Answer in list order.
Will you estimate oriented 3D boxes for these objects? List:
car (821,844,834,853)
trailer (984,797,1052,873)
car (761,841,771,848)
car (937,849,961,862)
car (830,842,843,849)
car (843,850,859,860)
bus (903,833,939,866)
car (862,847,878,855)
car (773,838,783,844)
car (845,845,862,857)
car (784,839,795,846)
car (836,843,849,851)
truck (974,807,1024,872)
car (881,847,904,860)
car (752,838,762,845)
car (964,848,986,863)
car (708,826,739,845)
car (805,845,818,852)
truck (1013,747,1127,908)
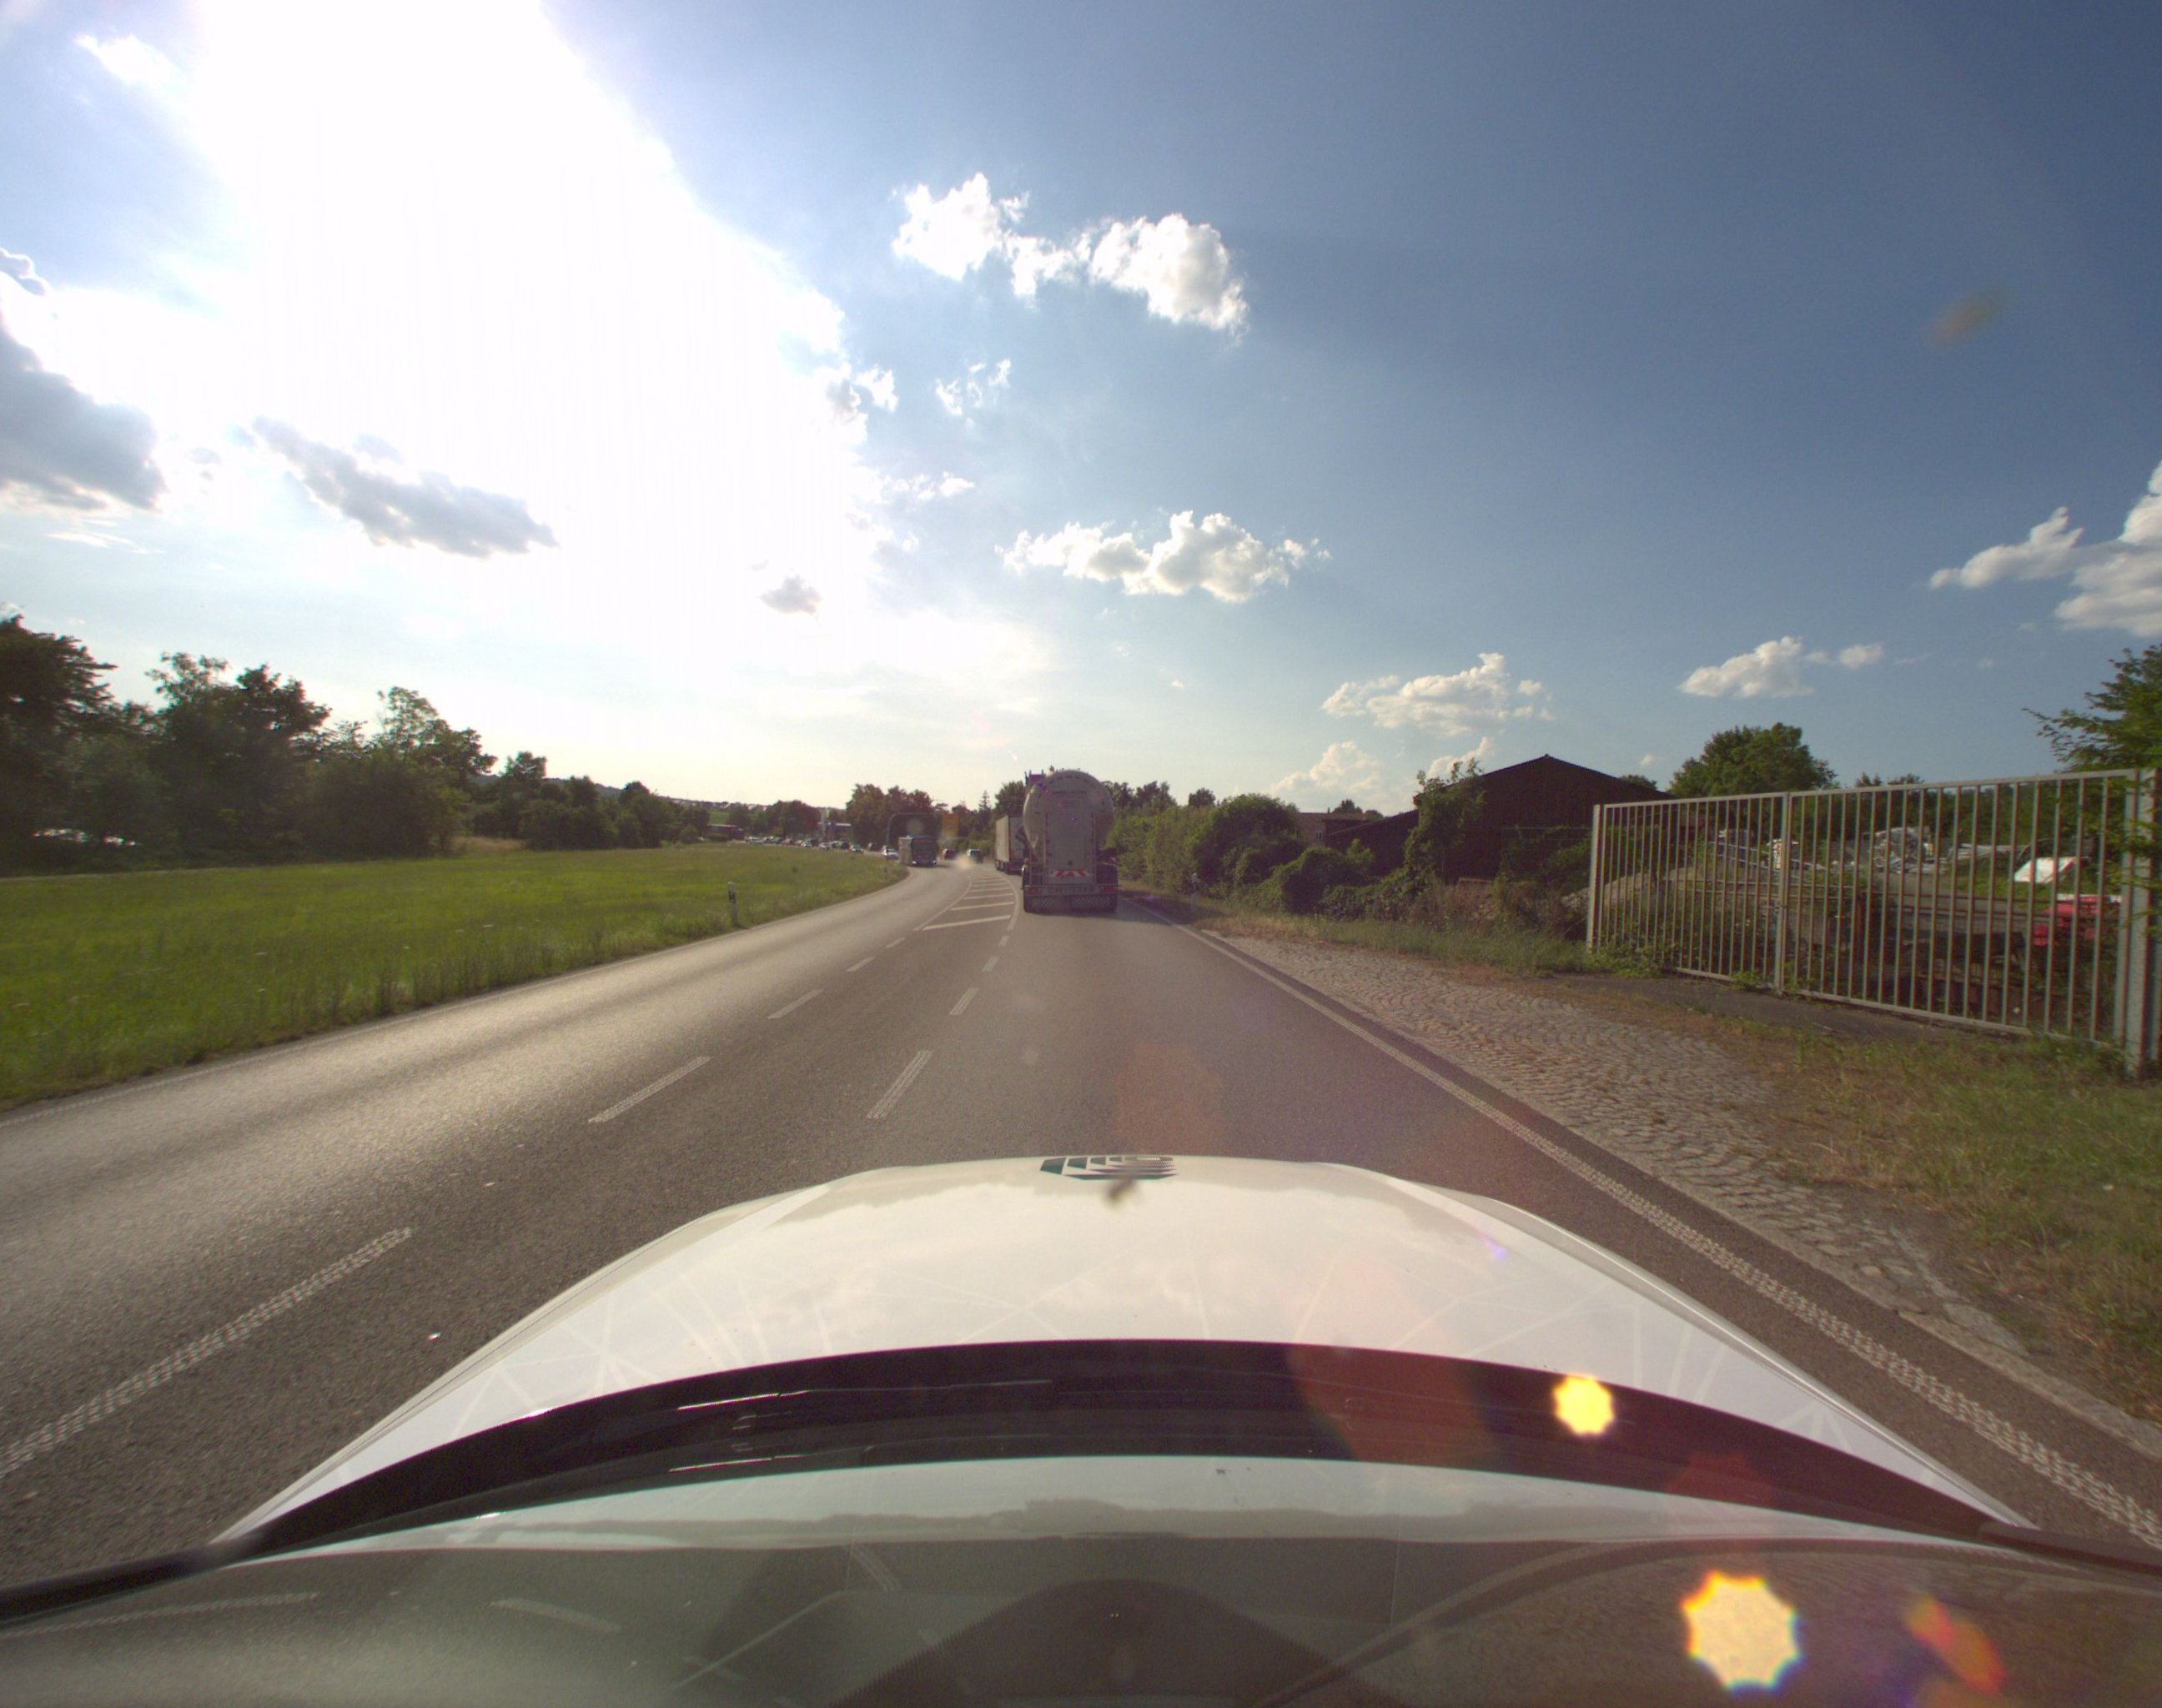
[{"bbox_3d":[-48.215,-1.100,154.918,2.002,1.725,4.393,0,1,-23],"label":"car"},{"bbox_3d":[-4.623,-1.130,57.322,2.970,4.882,10.233,0,-1,-15],"label":"trailer"},{"bbox_3d":[-81.318,-2.479,210.360,1.892,1.599,3.965,0,0,-27],"label":"car"},{"bbox_3d":[-17.901,0.254,110.416,2.308,1.656,4.384,0,-1,-21],"label":"car"},{"bbox_3d":[-52.981,-1.833,176.389,2.097,1.599,3.964,0,0,-28],"label":"car"},{"bbox_3d":[-37.970,0.180,134.478,1.851,1.656,3.966,1,-1,-26],"label":"car"},{"bbox_3d":[-16.983,-0.340,85.962,2.799,3.181,12.061,0,-1,-16],"label":"bus"},{"bbox_3d":[-41.287,-0.577,159.486,2.097,1.599,3.964,0,0,-28],"label":"car"},{"bbox_3d":[-75.730,-3.226,203.664,1.892,1.599,3.965,0,0,-27],"label":"car"},{"bbox_3d":[-35.200,-0.451,125.928,1.851,1.656,3.966,1,-1,-26],"label":"car"},{"bbox_3d":[-71.316,-2.886,199.270,1.894,1.599,3.961,0,0,-31],"label":"car"},{"bbox_3d":[-49.532,-1.449,168.818,1.892,1.599,3.965,0,0,-27],"label":"car"},{"bbox_3d":[-6.564,-1.026,64.531,2.968,4.887,6.396,0,-1,-15],"label":"truck"},{"bbox_3d":[-25.223,-0.087,108.804,1.853,1.656,3.960,1,-1,-31],"label":"car"},{"bbox_3d":[-78.121,-3.024,196.230,1.851,1.656,3.965,1,-1,-27],"label":"car"},{"bbox_3d":[-12.264,0.238,94.059,1.998,1.656,3.976,0,-1,-17],"label":"car"},{"bbox_3d":[-99.563,-5.013,226.437,3.573,5.059,13.080,0,0,-44],"label":"car"},{"bbox_3d":[-61.830,-1.277,186.839,2.097,1.599,3.964,0,0,-28],"label":"car"},{"bbox_3d":[-0.509,-0.610,26.981,2.968,4.175,11.650,0,-1,-2],"label":"truck"}]
